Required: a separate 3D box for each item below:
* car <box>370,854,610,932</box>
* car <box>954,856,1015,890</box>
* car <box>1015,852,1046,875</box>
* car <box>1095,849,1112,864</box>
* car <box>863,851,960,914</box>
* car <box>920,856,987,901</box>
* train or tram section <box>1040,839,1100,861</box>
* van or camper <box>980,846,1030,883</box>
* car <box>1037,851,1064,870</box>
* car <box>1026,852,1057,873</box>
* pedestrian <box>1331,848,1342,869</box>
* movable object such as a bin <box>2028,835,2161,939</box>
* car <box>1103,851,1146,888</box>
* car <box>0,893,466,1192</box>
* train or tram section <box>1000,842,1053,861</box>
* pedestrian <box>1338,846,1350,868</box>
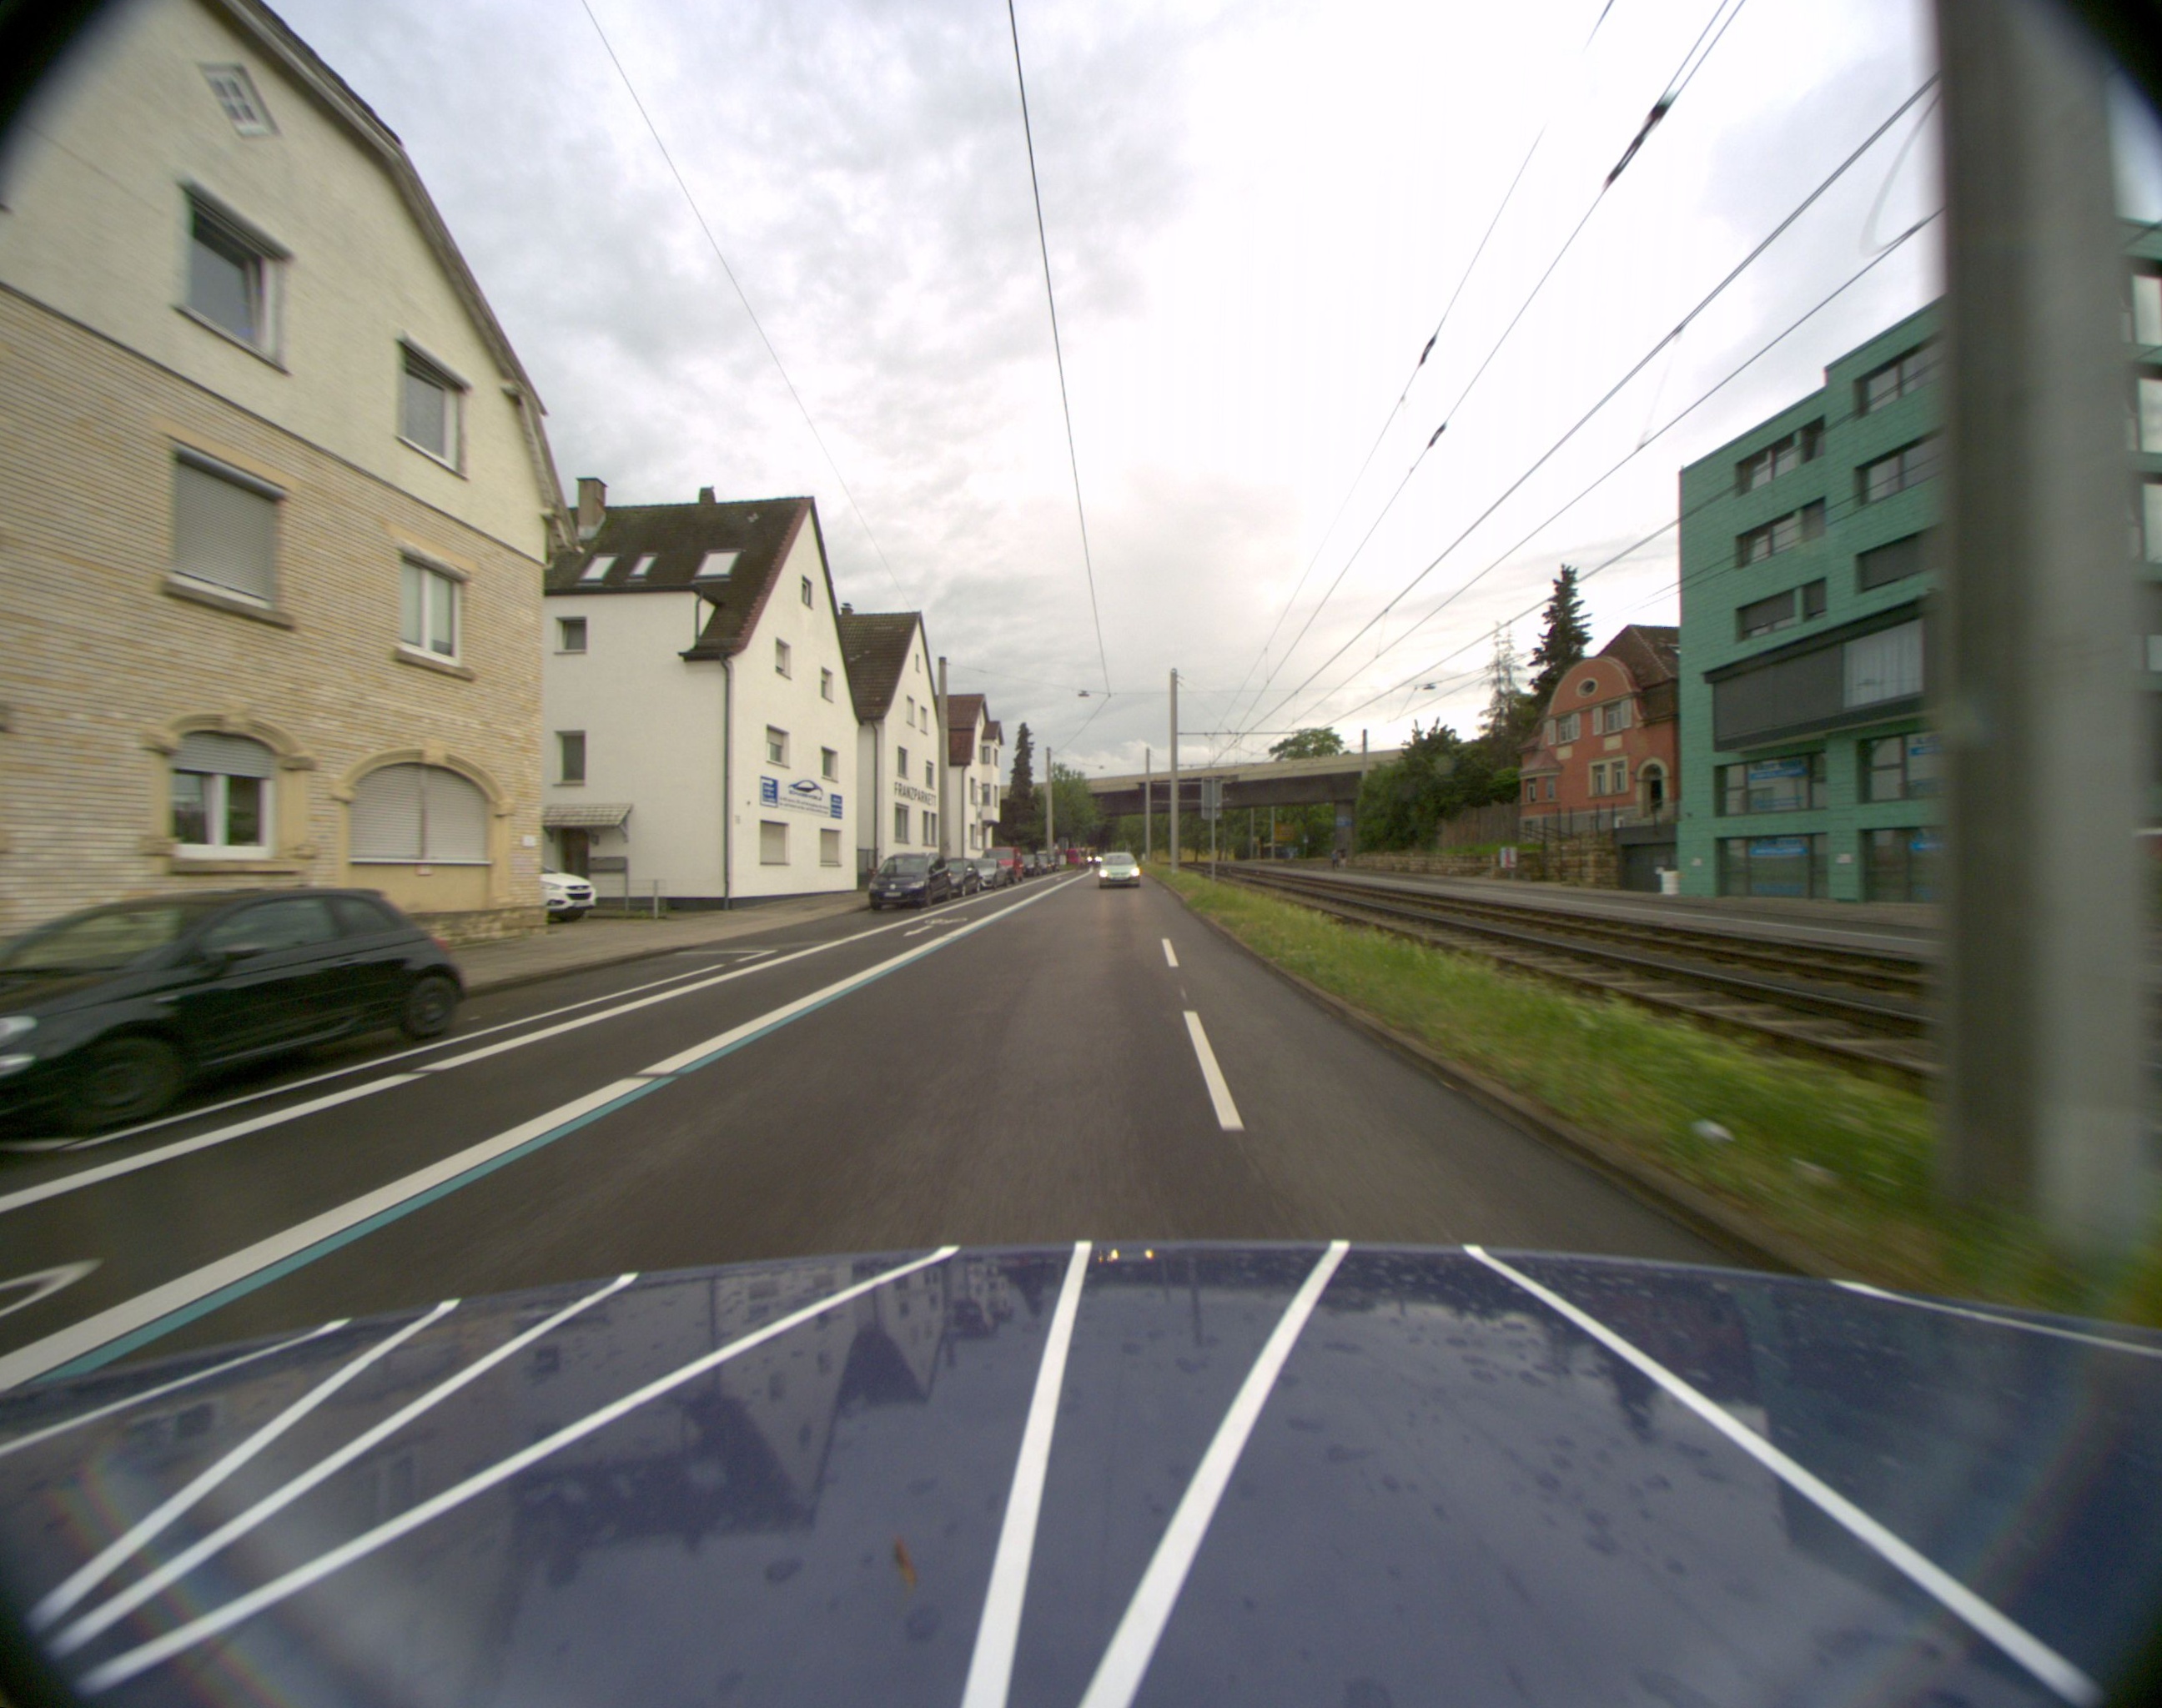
[{"bbox_3d":[-13.226,0.840,17.189,3.997,1.644,1.871,0,0,1],"label":"car"},{"bbox_3d":[-4.426,0.848,35.583,1.800,1.368,4.672,-1,1,6],"label":"car"},{"bbox_3d":[-3.428,0.620,52.017,1.581,1.443,3.720,0,2,5],"label":"car"},{"bbox_3d":[2.447,0.269,82.125,1.780,1.493,4.000,0,0,1],"label":"car"},{"bbox_3d":[-5.428,0.845,25.031,1.843,1.790,4.687,-3,0,3],"label":"car"},{"bbox_3d":[-4.923,0.906,29.867,1.637,1.529,4.136,-3,0,3],"label":"car"},{"bbox_3d":[-2.448,-0.703,151.582,2.881,3.938,19.287,-3,1,-29],"label":"train or tram section"},{"bbox_3d":[-4.032,0.511,41.087,1.855,1.909,4.995,0,1,4],"label":"van or camper"},{"bbox_3d":[-2.467,0.529,62.554,1.680,1.415,4.566,-2,1,5],"label":"car"},{"bbox_3d":[-2.879,0.626,56.708,1.715,1.404,4.566,-1,1,5],"label":"car"},{"bbox_3d":[21.325,0.367,63.417,0.695,1.660,0.888,-2,0,6],"label":"pedestrian"},{"bbox_3d":[23.308,0.690,16.949,2.140,2.144,1.801,-3,-1,-6],"label":"movable object such as a bin"},{"bbox_3d":[1.856,0.675,33.273,1.780,1.492,4.001,0,-1,2],"label":"car"},{"bbox_3d":[-6.877,1.178,5.724,1.569,1.489,3.512,-3,0,-1],"label":"car"},{"bbox_3d":[-12.260,-0.440,168.321,2.881,3.948,19.284,-3,1,-32],"label":"train or tram section"},{"bbox_3d":[22.153,0.259,64.004,0.695,1.820,0.867,-2,0,3],"label":"pedestrian"}]
